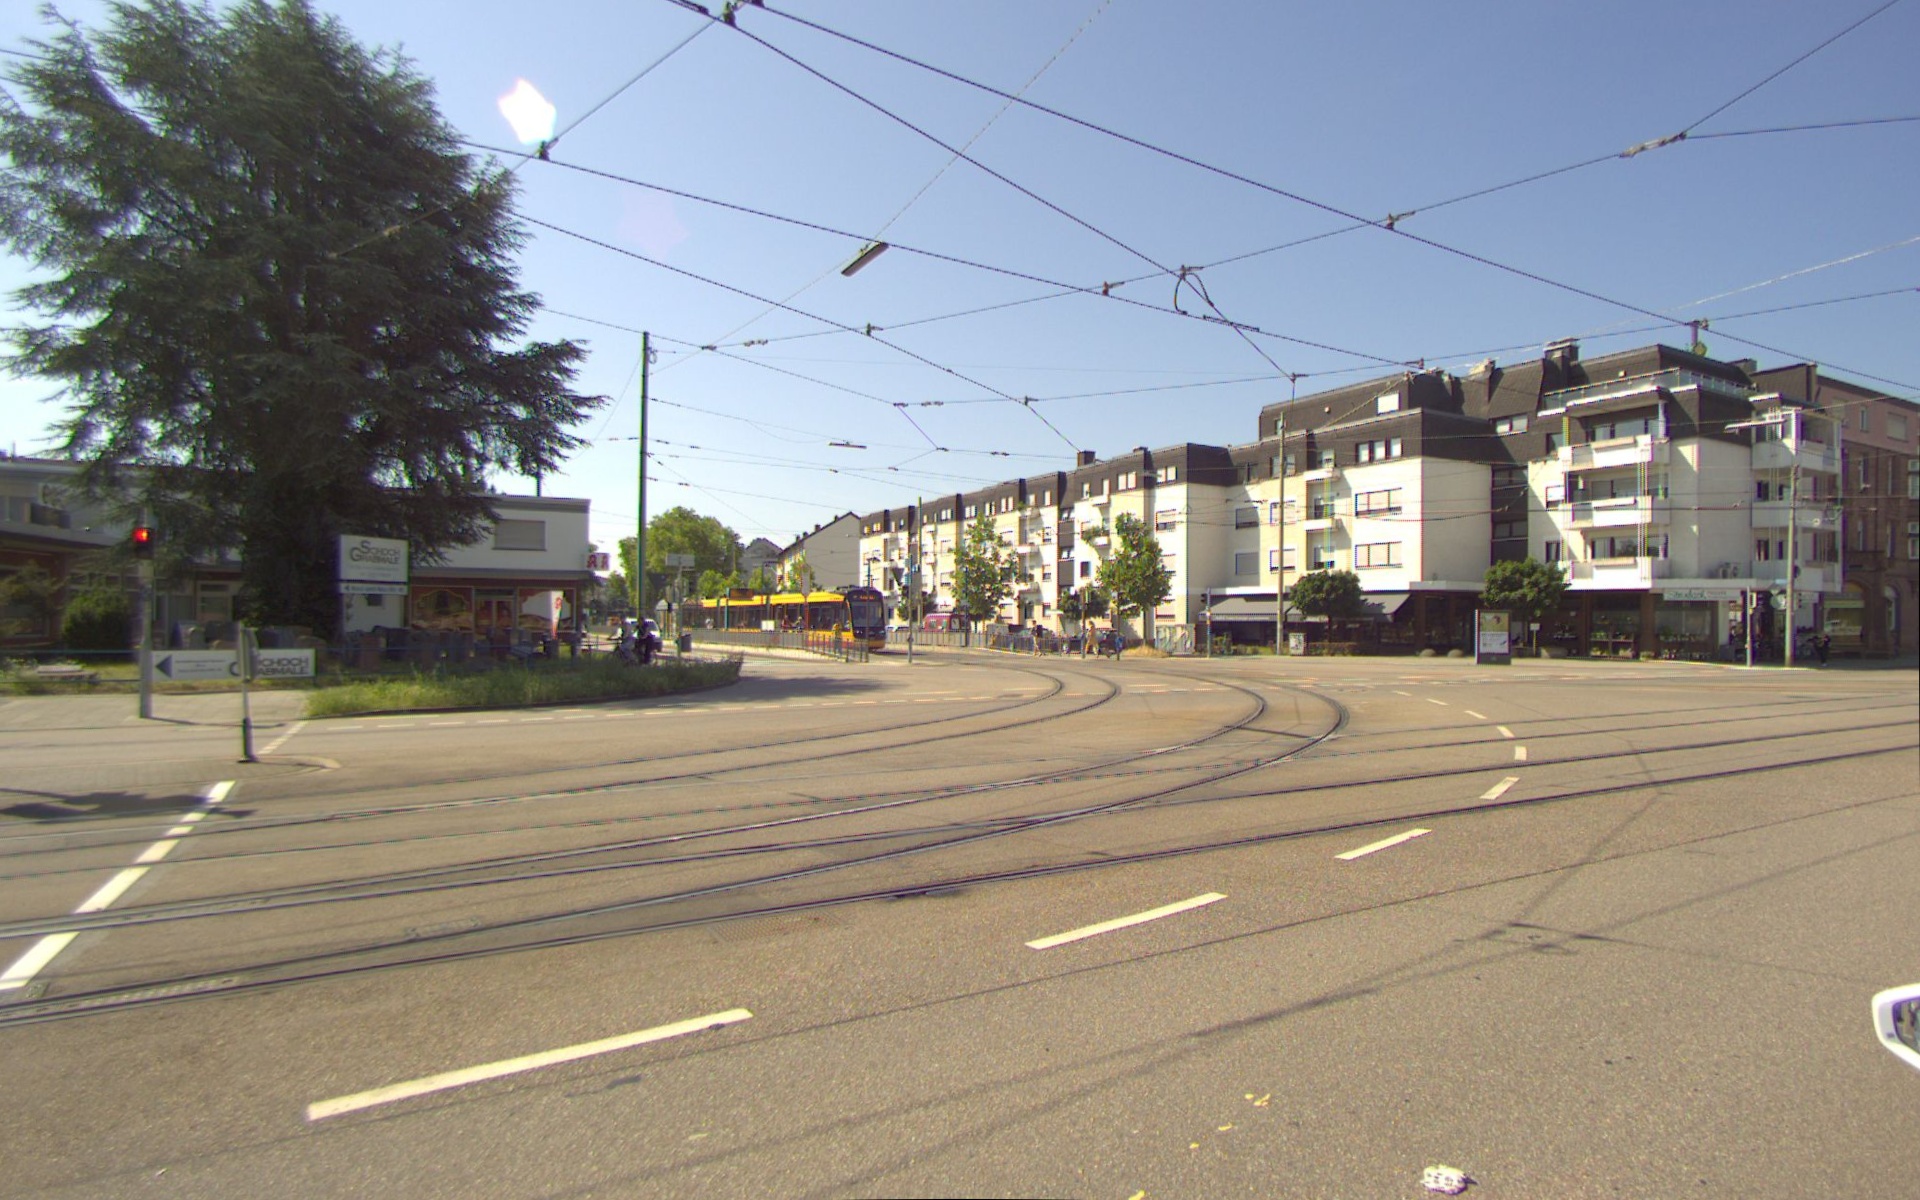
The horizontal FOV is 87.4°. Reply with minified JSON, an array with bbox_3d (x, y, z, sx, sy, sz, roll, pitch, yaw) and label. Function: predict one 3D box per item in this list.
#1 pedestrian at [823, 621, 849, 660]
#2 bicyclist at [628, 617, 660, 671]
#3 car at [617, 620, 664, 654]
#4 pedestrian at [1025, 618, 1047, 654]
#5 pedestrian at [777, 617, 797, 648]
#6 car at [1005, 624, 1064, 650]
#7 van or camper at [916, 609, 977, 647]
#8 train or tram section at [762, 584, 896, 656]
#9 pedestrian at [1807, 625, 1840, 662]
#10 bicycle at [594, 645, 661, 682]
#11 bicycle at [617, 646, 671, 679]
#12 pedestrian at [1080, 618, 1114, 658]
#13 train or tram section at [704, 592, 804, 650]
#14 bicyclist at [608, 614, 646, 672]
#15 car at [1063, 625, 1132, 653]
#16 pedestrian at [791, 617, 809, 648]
[{"bbox_3d":[-5.971,1.949,48.317,0.886,1.862,1.193,1,-2,-29],"label":"pedestrian"},{"bbox_3d":[-9.503,1.323,30.225,0.619,1.595,0.766,0,-1,12],"label":"bicyclist"},{"bbox_3d":[-18.612,2.115,58.353,1.755,1.887,4.625,1,-2,-29],"label":"car"},{"bbox_3d":[3.763,1.770,49.788,0.755,1.783,0.804,1,-2,-34],"label":"pedestrian"},{"bbox_3d":[-9.615,1.830,55.907,0.804,1.702,1.086,1,-2,-29],"label":"pedestrian"},{"bbox_3d":[4.615,2.300,62.942,1.807,1.520,3.969,1,-2,-30],"label":"car"},{"bbox_3d":[-1.045,2.041,72.897,2.348,2.659,4.852,1,-2,-30],"label":"van or camper"},{"bbox_3d":[-7.897,1.194,58.000,2.735,3.706,13.802,1,-2,-29],"label":"train or tram section"},{"bbox_3d":[39.411,1.993,45.848,0.668,1.669,0.879,0,-1,-10],"label":"pedestrian"},{"bbox_3d":[-9.220,1.748,27.914,0.525,0.959,2.136,0,-2,21],"label":"bicycle"},{"bbox_3d":[-9.501,1.865,30.275,0.564,0.902,2.138,0,-2,12],"label":"bicycle"},{"bbox_3d":[6.475,1.784,47.472,1.411,1.860,1.123,0,-1,21],"label":"pedestrian"},{"bbox_3d":[-14.618,1.505,70.052,2.735,3.706,13.802,1,-2,-29],"label":"train or tram section"},{"bbox_3d":[-9.246,1.204,27.901,0.620,1.578,0.765,-1,-3,24],"label":"bicyclist"},{"bbox_3d":[7.845,2.220,57.585,1.807,1.520,4.153,1,-2,-30],"label":"car"},{"bbox_3d":[-8.598,1.746,54.001,0.775,1.648,0.655,1,-1,-29],"label":"pedestrian"}]
